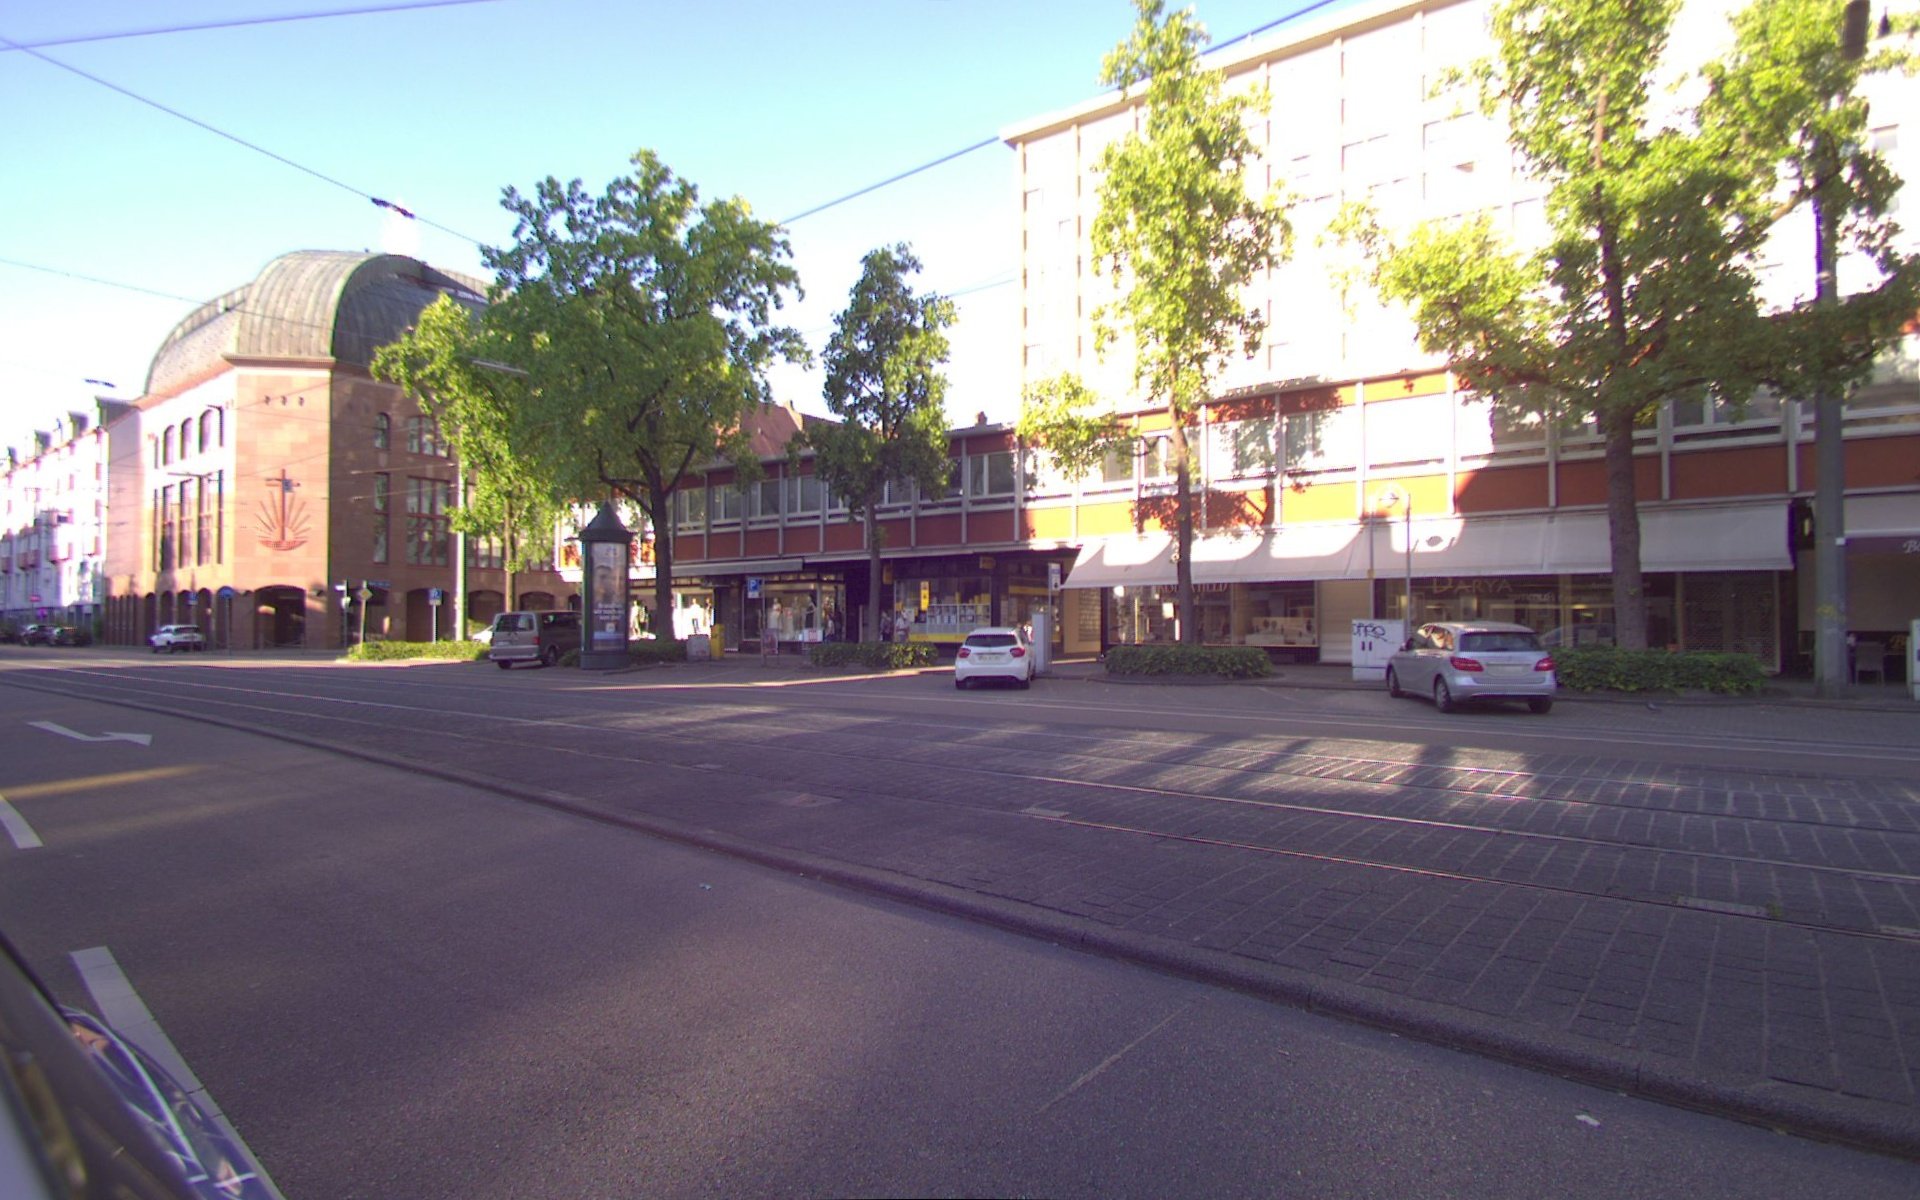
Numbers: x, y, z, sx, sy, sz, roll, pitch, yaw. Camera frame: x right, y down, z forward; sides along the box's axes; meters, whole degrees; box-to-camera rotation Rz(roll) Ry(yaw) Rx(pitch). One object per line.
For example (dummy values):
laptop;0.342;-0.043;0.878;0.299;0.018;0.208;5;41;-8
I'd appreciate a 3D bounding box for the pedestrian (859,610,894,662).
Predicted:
pedestrian;-3.183;1.359;38.547;0.898;1.963;0.984;-1;-2;36

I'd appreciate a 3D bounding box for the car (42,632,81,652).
car;-66.475;3.094;74.856;3.679;1.411;1.626;-1;-1;39

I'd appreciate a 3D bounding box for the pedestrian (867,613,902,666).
pedestrian;-2.740;1.419;36.890;0.898;1.892;0.908;-1;-2;36

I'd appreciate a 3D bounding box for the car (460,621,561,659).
car;-26.001;2.286;58.661;2.128;1.982;4.934;2;0;36

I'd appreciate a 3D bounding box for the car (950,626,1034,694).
car;0.876;1.437;25.334;1.745;1.440;4.261;-1;0;7

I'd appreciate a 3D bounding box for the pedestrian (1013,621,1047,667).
pedestrian;2.329;1.457;33.730;0.898;1.481;0.681;-1;-2;36

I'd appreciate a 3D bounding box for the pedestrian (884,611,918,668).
pedestrian;-2.008;1.349;34.505;0.903;1.892;0.903;1;-2;-24

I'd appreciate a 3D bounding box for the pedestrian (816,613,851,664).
pedestrian;-4.729;1.429;37.819;0.898;1.892;0.908;-1;-2;36

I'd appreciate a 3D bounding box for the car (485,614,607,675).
car;-14.589;1.508;36.047;1.831;1.943;5.112;0;0;6

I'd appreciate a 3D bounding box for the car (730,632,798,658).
car;-12.370;2.806;63.791;4.094;1.590;2.012;-1;-2;37

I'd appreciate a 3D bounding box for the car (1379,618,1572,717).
car;9.384;1.145;18.855;1.805;1.578;4.271;0;0;7

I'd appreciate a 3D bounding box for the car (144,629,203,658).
car;-45.307;2.481;58.256;4.269;1.602;1.581;-1;0;36

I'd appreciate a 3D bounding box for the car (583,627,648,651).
car;-23.457;2.651;68.887;4.519;1.585;1.835;-1;-2;34

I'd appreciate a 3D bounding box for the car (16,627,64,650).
car;-71.788;2.965;78.979;4.552;1.713;1.941;-1;-1;37

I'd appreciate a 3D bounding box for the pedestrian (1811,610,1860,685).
pedestrian;18.868;1.005;21.818;0.705;1.575;0.864;-2;-2;38

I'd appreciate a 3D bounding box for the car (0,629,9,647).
car;-86.803;3.394;90.627;4.555;1.520;1.807;-1;-1;38

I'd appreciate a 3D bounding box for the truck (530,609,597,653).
truck;-25.767;2.006;65.752;4.519;2.784;1.835;-1;-2;34

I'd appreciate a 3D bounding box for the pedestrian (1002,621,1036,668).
pedestrian;1.933;1.441;33.151;0.898;1.509;0.681;-1;-2;36

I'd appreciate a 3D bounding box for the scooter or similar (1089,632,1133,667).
scooter or similar;4.819;1.575;32.347;1.335;1.102;0.470;-1;-1;36
